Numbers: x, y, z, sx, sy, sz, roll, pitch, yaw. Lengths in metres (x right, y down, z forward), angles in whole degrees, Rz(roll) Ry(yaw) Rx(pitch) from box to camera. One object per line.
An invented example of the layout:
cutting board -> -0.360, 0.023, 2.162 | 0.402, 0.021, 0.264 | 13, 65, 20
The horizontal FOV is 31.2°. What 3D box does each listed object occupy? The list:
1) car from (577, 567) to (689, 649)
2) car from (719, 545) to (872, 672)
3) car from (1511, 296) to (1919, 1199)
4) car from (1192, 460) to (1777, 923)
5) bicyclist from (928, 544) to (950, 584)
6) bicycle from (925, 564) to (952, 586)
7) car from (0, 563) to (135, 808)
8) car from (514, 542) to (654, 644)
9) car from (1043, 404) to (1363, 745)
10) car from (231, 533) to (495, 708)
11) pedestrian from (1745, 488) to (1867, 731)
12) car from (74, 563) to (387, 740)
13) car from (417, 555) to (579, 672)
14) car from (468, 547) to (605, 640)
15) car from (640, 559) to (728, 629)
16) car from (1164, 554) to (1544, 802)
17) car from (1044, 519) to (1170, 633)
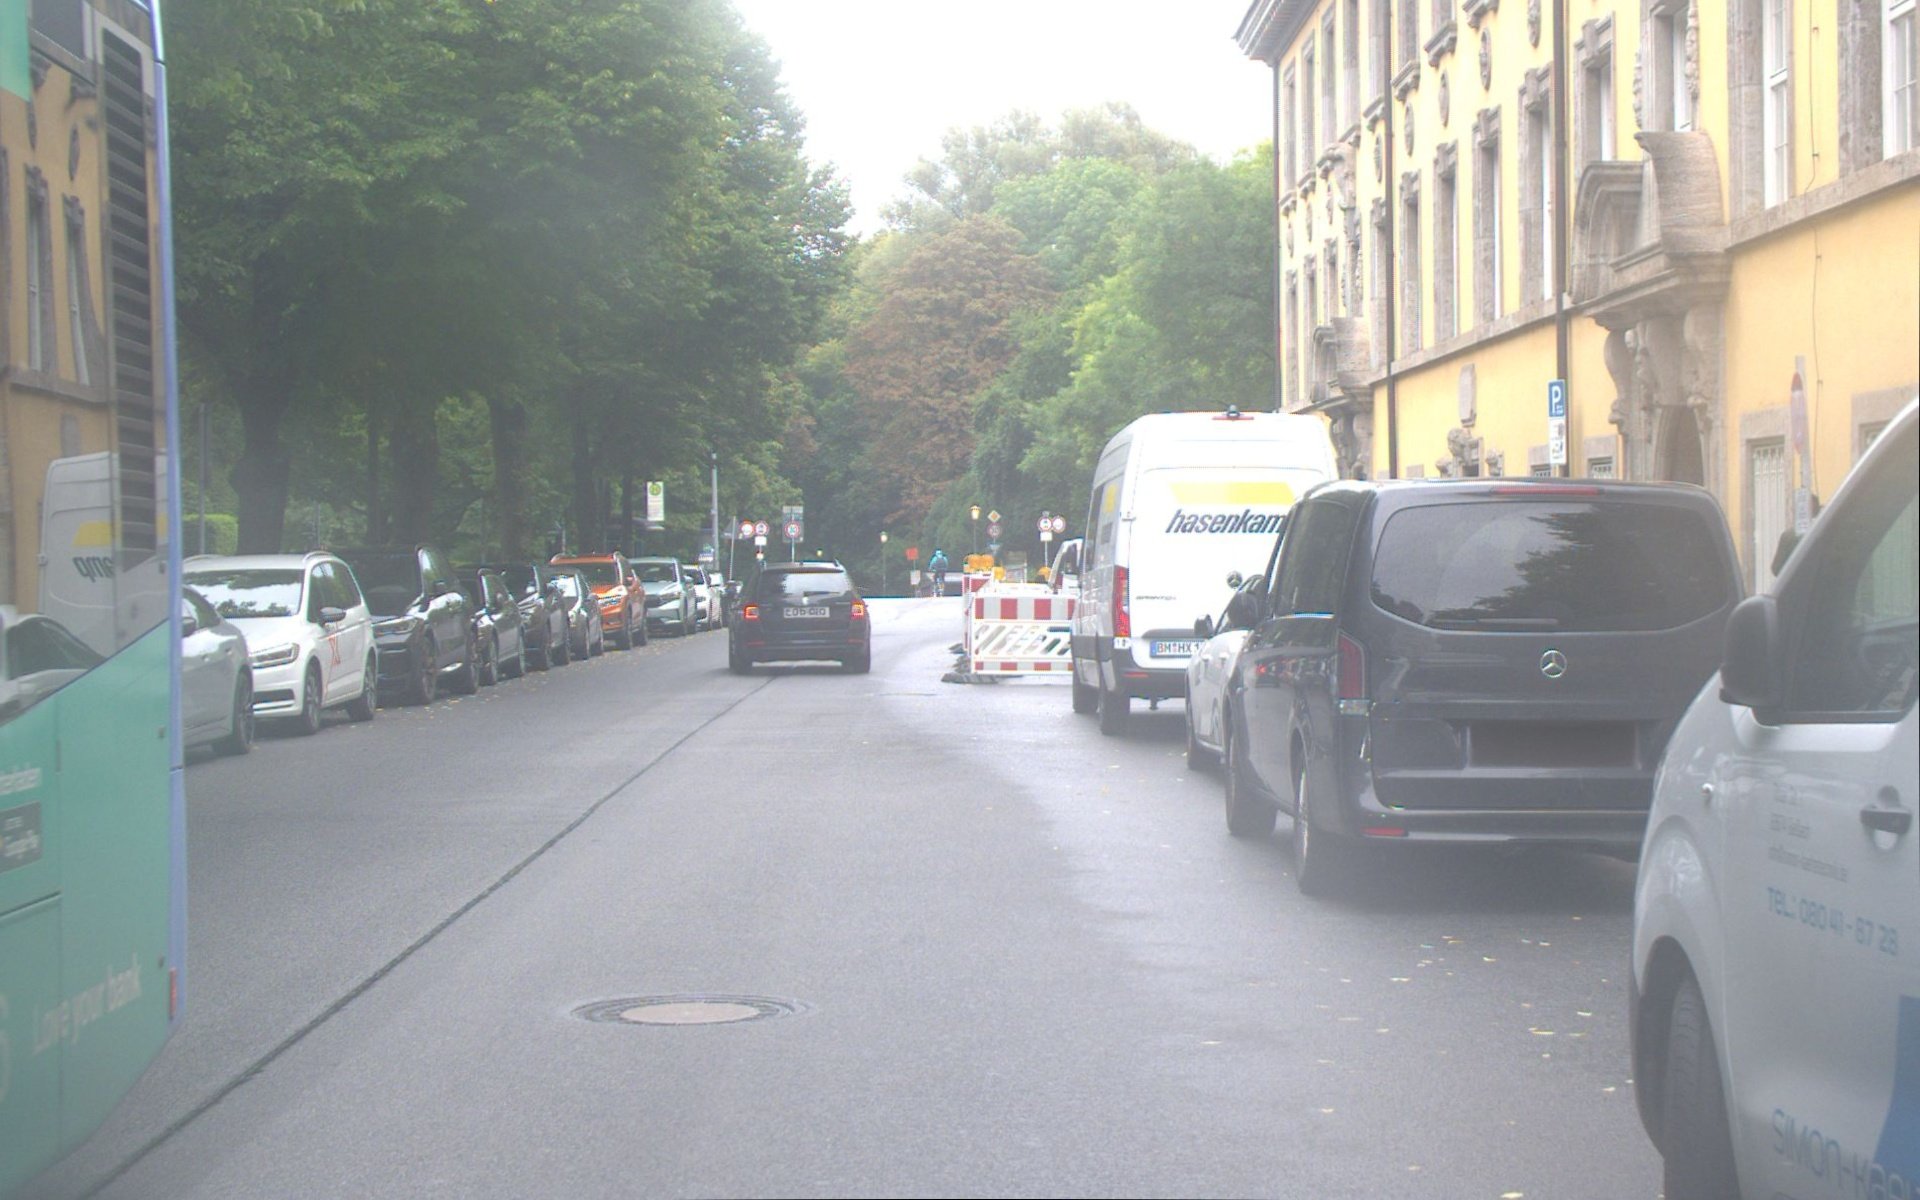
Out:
car -> -6.615, 0.134, 69.962 | 1.815, 1.596, 4.514 | -1, 1, 0
car -> -2.128, 0.080, 45.368 | 1.577, 1.578, 4.044 | -1, 1, 3
car -> 2.413, 0.509, 5.196 | 2.013, 1.900, 5.164 | 0, 1, -4
car -> 2.313, 0.353, 16.535 | 1.870, 1.862, 4.987 | -1, 0, -2
bicyclist -> -0.798, -1.366, 130.218 | 0.680, 1.499, 0.901 | -1, 1, -8
bicycle -> -0.821, -0.946, 130.399 | 0.679, 0.827, 2.110 | -1, 0, -9
car -> -6.641, 0.506, 22.350 | 1.672, 1.464, 4.104 | -1, 0, -2
car -> -6.662, -0.149, 61.286 | 1.872, 1.722, 4.641 | -1, 1, 1
car -> 2.011, -0.234, 30.915 | 2.054, 2.664, 7.615 | -1, 0, -2
car -> -6.678, 0.190, 38.992 | 1.993, 1.791, 4.920 | -2, 1, 1
pedestrian -> 6.420, 0.069, 26.111 | 0.700, 1.798, 0.583 | -3, 0, -1
car -> -6.566, 0.411, 31.478 | 1.809, 1.464, 4.997 | -1, 0, 0
car -> -6.635, 0.160, 49.780 | 1.786, 1.569, 4.486 | -1, 1, -1
car -> -6.819, -0.134, 55.673 | 1.727, 1.418, 4.251 | -1, 1, -1
car -> -6.044, -0.149, 75.704 | 1.577, 1.492, 4.199 | -1, 1, 0
car -> 2.487, 0.450, 22.722 | 1.870, 1.453, 4.255 | -1, 0, -2
car -> 2.322, -0.367, 55.401 | 1.739, 1.744, 4.356 | -1, 0, -1
